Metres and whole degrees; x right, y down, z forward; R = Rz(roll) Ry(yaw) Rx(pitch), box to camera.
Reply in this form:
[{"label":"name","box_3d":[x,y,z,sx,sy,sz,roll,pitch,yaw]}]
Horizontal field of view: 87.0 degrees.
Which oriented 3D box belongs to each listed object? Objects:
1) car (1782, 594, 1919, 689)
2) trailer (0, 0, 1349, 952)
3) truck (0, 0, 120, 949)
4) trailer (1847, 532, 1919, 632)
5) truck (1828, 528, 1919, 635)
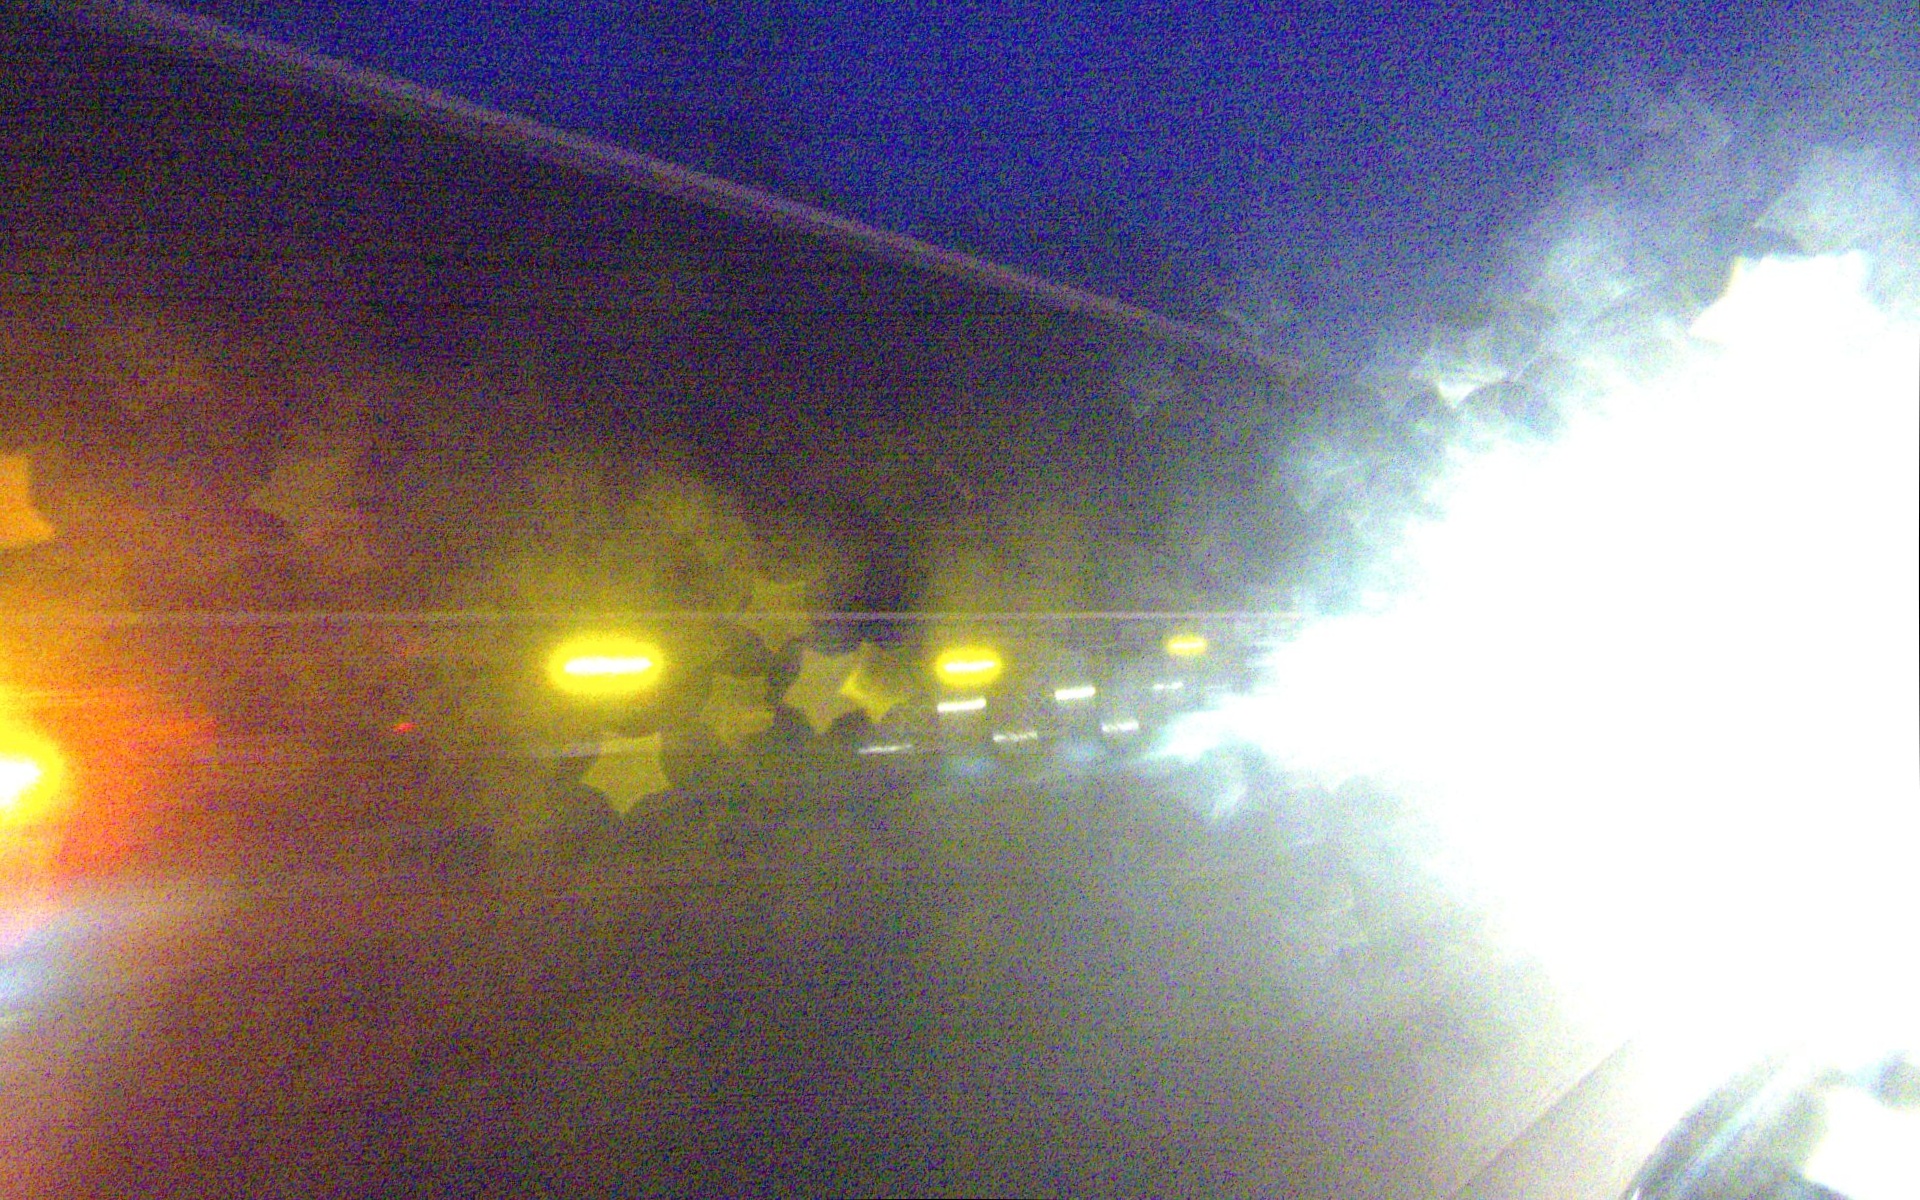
[{"label":"car","box_3d":[16.282,0.667,18.329,3.703,1.522,1.617,0,0,-42]},{"label":"trailer","box_3d":[-1.970,-0.739,7.317,13.400,4.149,2.870,0,0,-40]},{"label":"truck","box_3d":[-7.032,-0.702,3.057,6.890,4.155,2.865,0,0,-40]},{"label":"trailer","box_3d":[44.391,-0.777,47.370,10.982,4.246,2.751,0,0,-40]},{"label":"truck","box_3d":[39.478,-0.744,43.174,5.910,4.246,2.776,0,0,-40]}]
